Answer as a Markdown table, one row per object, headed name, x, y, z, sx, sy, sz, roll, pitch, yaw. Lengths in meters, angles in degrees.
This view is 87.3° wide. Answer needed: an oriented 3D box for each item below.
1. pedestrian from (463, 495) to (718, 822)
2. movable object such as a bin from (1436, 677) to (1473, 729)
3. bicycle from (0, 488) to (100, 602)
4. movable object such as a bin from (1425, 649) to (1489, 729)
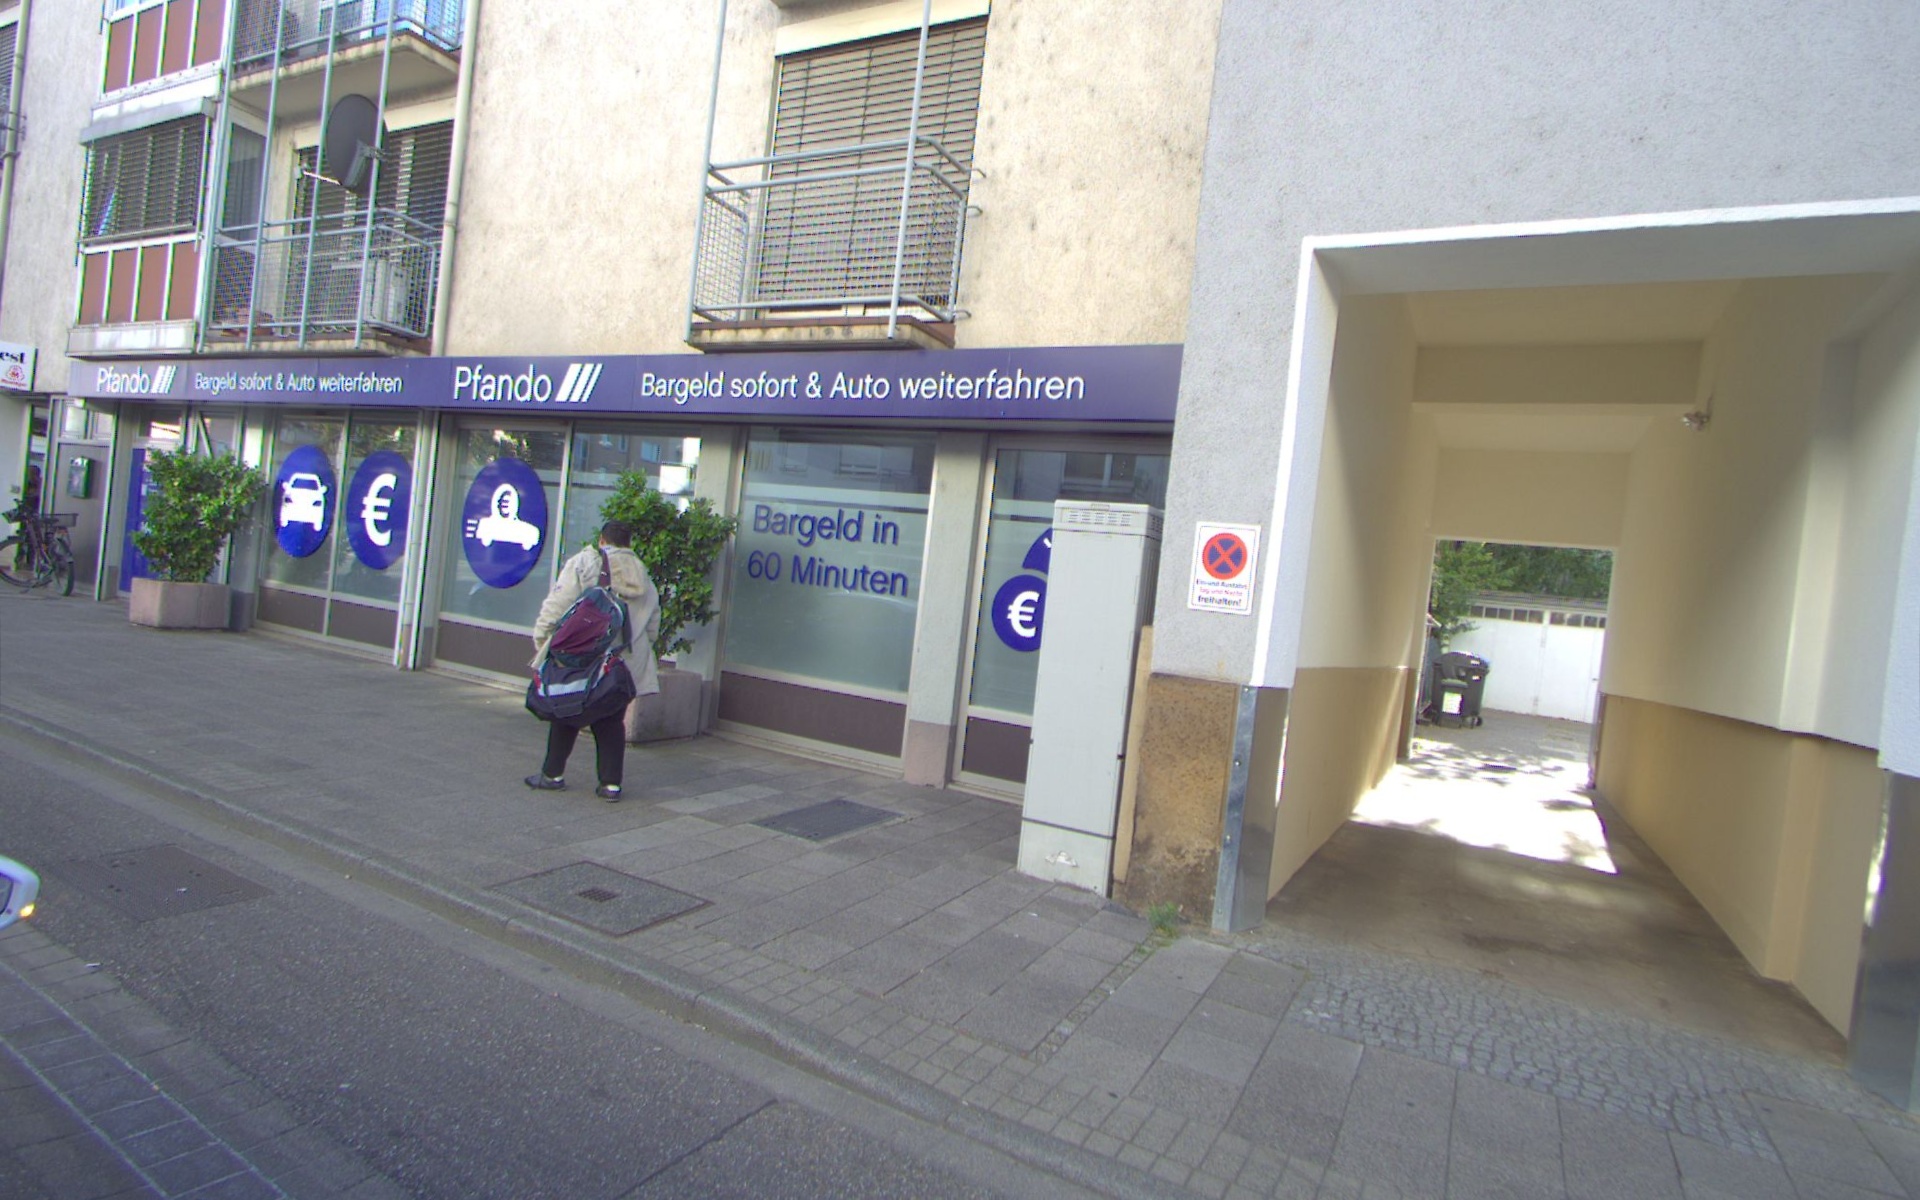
| name | x | y | z | sx | sy | sz | roll | pitch | yaw |
| --- | --- | --- | --- | --- | --- | --- | --- | --- | --- |
| pedestrian | -2.048 | 0.290 | 5.620 | 0.853 | 1.593 | 0.874 | 8 | 3 | 29 |
| movable object such as a bin | 9.568 | 1.981 | 19.446 | 0.518 | 0.922 | 0.580 | 7 | 1 | 29 |
| bicycle | -11.836 | -0.728 | 12.871 | 1.879 | 1.280 | 0.640 | 7 | 1 | 32 |
| movable object such as a bin | 10.119 | 1.788 | 20.449 | 0.945 | 1.426 | 1.598 | 7 | 1 | 29 |
